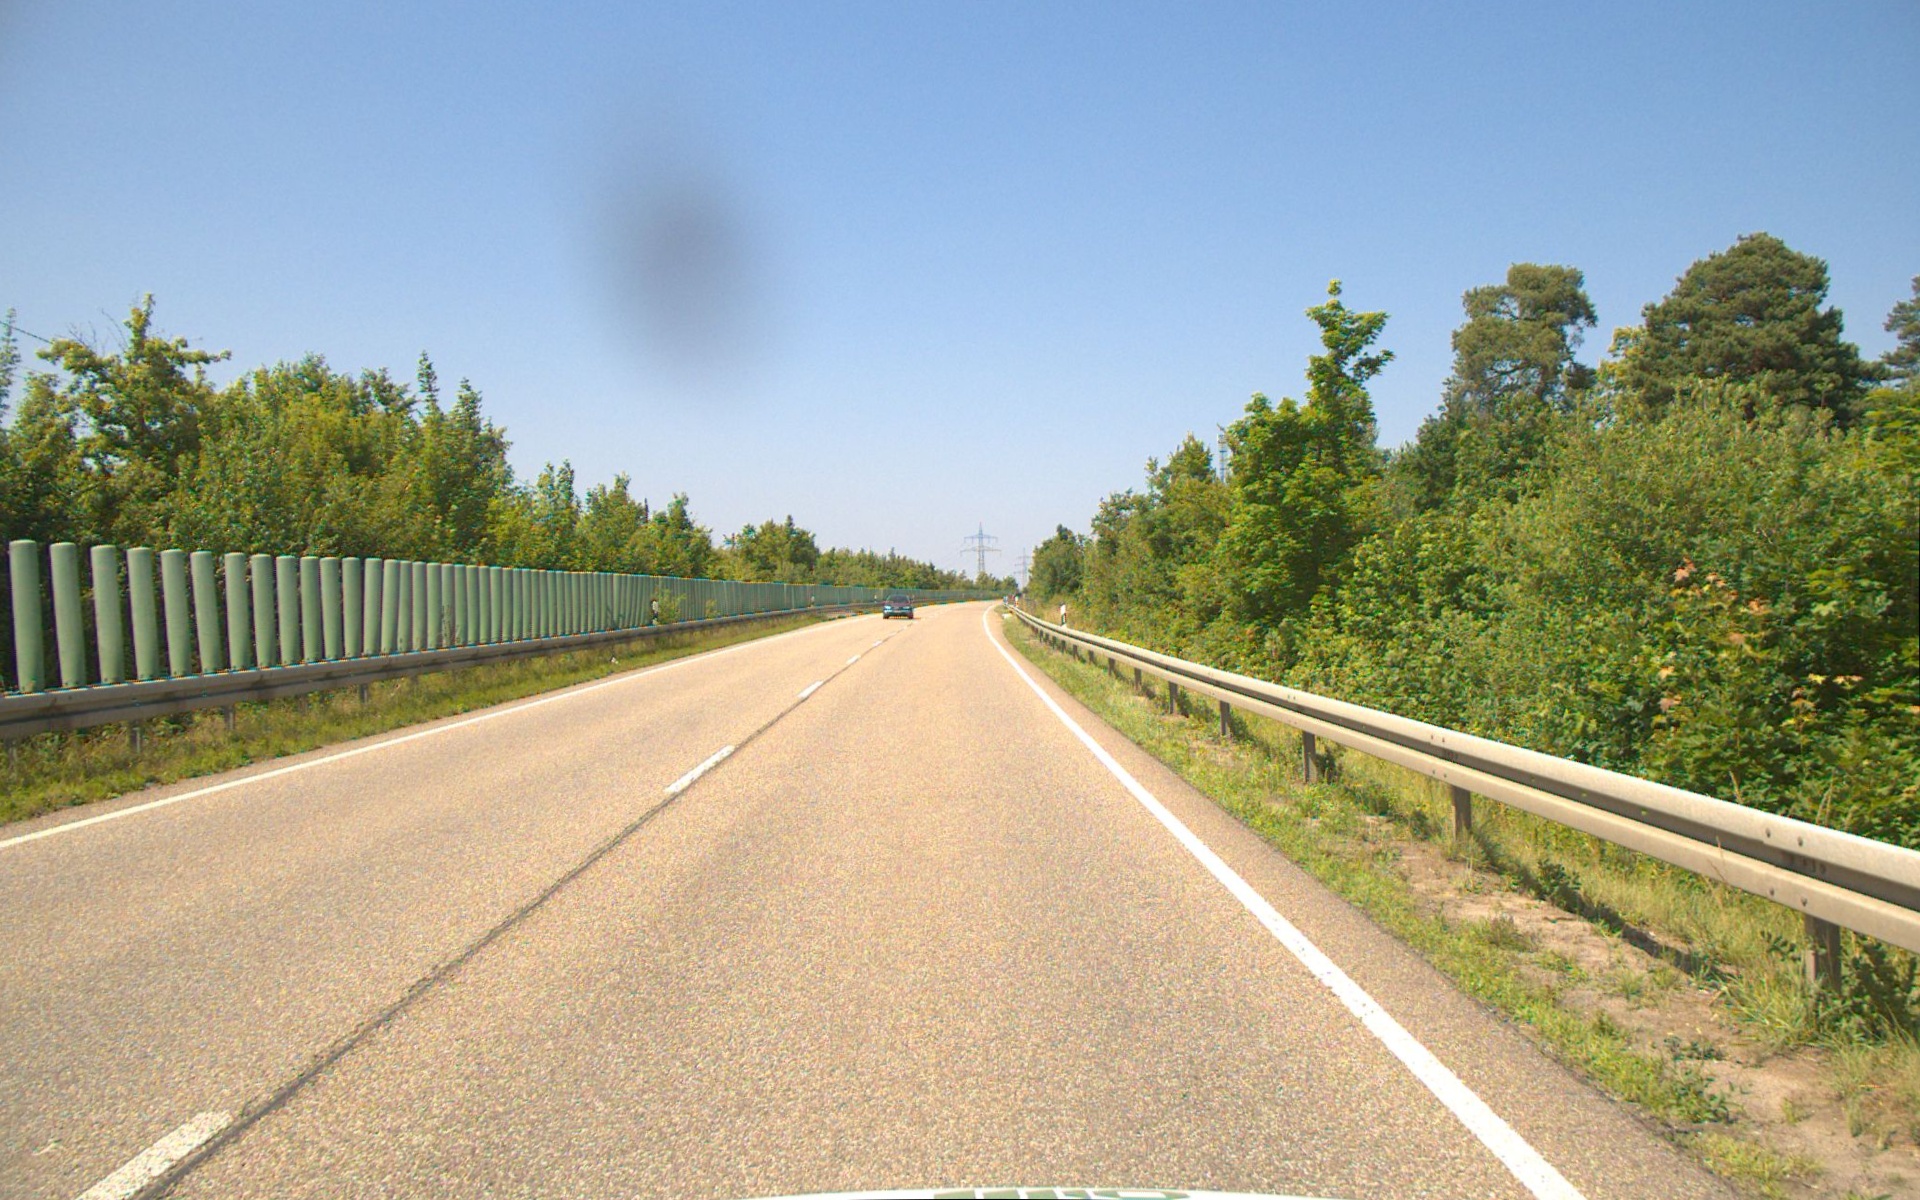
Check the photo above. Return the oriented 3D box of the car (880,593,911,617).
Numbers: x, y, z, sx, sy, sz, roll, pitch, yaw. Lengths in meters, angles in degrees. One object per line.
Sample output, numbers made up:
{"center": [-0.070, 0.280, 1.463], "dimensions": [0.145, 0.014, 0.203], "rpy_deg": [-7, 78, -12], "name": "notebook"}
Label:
{"center": [-3.884, 0.302, 100.170], "dimensions": [1.750, 1.395, 3.896], "rpy_deg": [0, 0, -1], "name": "car"}
